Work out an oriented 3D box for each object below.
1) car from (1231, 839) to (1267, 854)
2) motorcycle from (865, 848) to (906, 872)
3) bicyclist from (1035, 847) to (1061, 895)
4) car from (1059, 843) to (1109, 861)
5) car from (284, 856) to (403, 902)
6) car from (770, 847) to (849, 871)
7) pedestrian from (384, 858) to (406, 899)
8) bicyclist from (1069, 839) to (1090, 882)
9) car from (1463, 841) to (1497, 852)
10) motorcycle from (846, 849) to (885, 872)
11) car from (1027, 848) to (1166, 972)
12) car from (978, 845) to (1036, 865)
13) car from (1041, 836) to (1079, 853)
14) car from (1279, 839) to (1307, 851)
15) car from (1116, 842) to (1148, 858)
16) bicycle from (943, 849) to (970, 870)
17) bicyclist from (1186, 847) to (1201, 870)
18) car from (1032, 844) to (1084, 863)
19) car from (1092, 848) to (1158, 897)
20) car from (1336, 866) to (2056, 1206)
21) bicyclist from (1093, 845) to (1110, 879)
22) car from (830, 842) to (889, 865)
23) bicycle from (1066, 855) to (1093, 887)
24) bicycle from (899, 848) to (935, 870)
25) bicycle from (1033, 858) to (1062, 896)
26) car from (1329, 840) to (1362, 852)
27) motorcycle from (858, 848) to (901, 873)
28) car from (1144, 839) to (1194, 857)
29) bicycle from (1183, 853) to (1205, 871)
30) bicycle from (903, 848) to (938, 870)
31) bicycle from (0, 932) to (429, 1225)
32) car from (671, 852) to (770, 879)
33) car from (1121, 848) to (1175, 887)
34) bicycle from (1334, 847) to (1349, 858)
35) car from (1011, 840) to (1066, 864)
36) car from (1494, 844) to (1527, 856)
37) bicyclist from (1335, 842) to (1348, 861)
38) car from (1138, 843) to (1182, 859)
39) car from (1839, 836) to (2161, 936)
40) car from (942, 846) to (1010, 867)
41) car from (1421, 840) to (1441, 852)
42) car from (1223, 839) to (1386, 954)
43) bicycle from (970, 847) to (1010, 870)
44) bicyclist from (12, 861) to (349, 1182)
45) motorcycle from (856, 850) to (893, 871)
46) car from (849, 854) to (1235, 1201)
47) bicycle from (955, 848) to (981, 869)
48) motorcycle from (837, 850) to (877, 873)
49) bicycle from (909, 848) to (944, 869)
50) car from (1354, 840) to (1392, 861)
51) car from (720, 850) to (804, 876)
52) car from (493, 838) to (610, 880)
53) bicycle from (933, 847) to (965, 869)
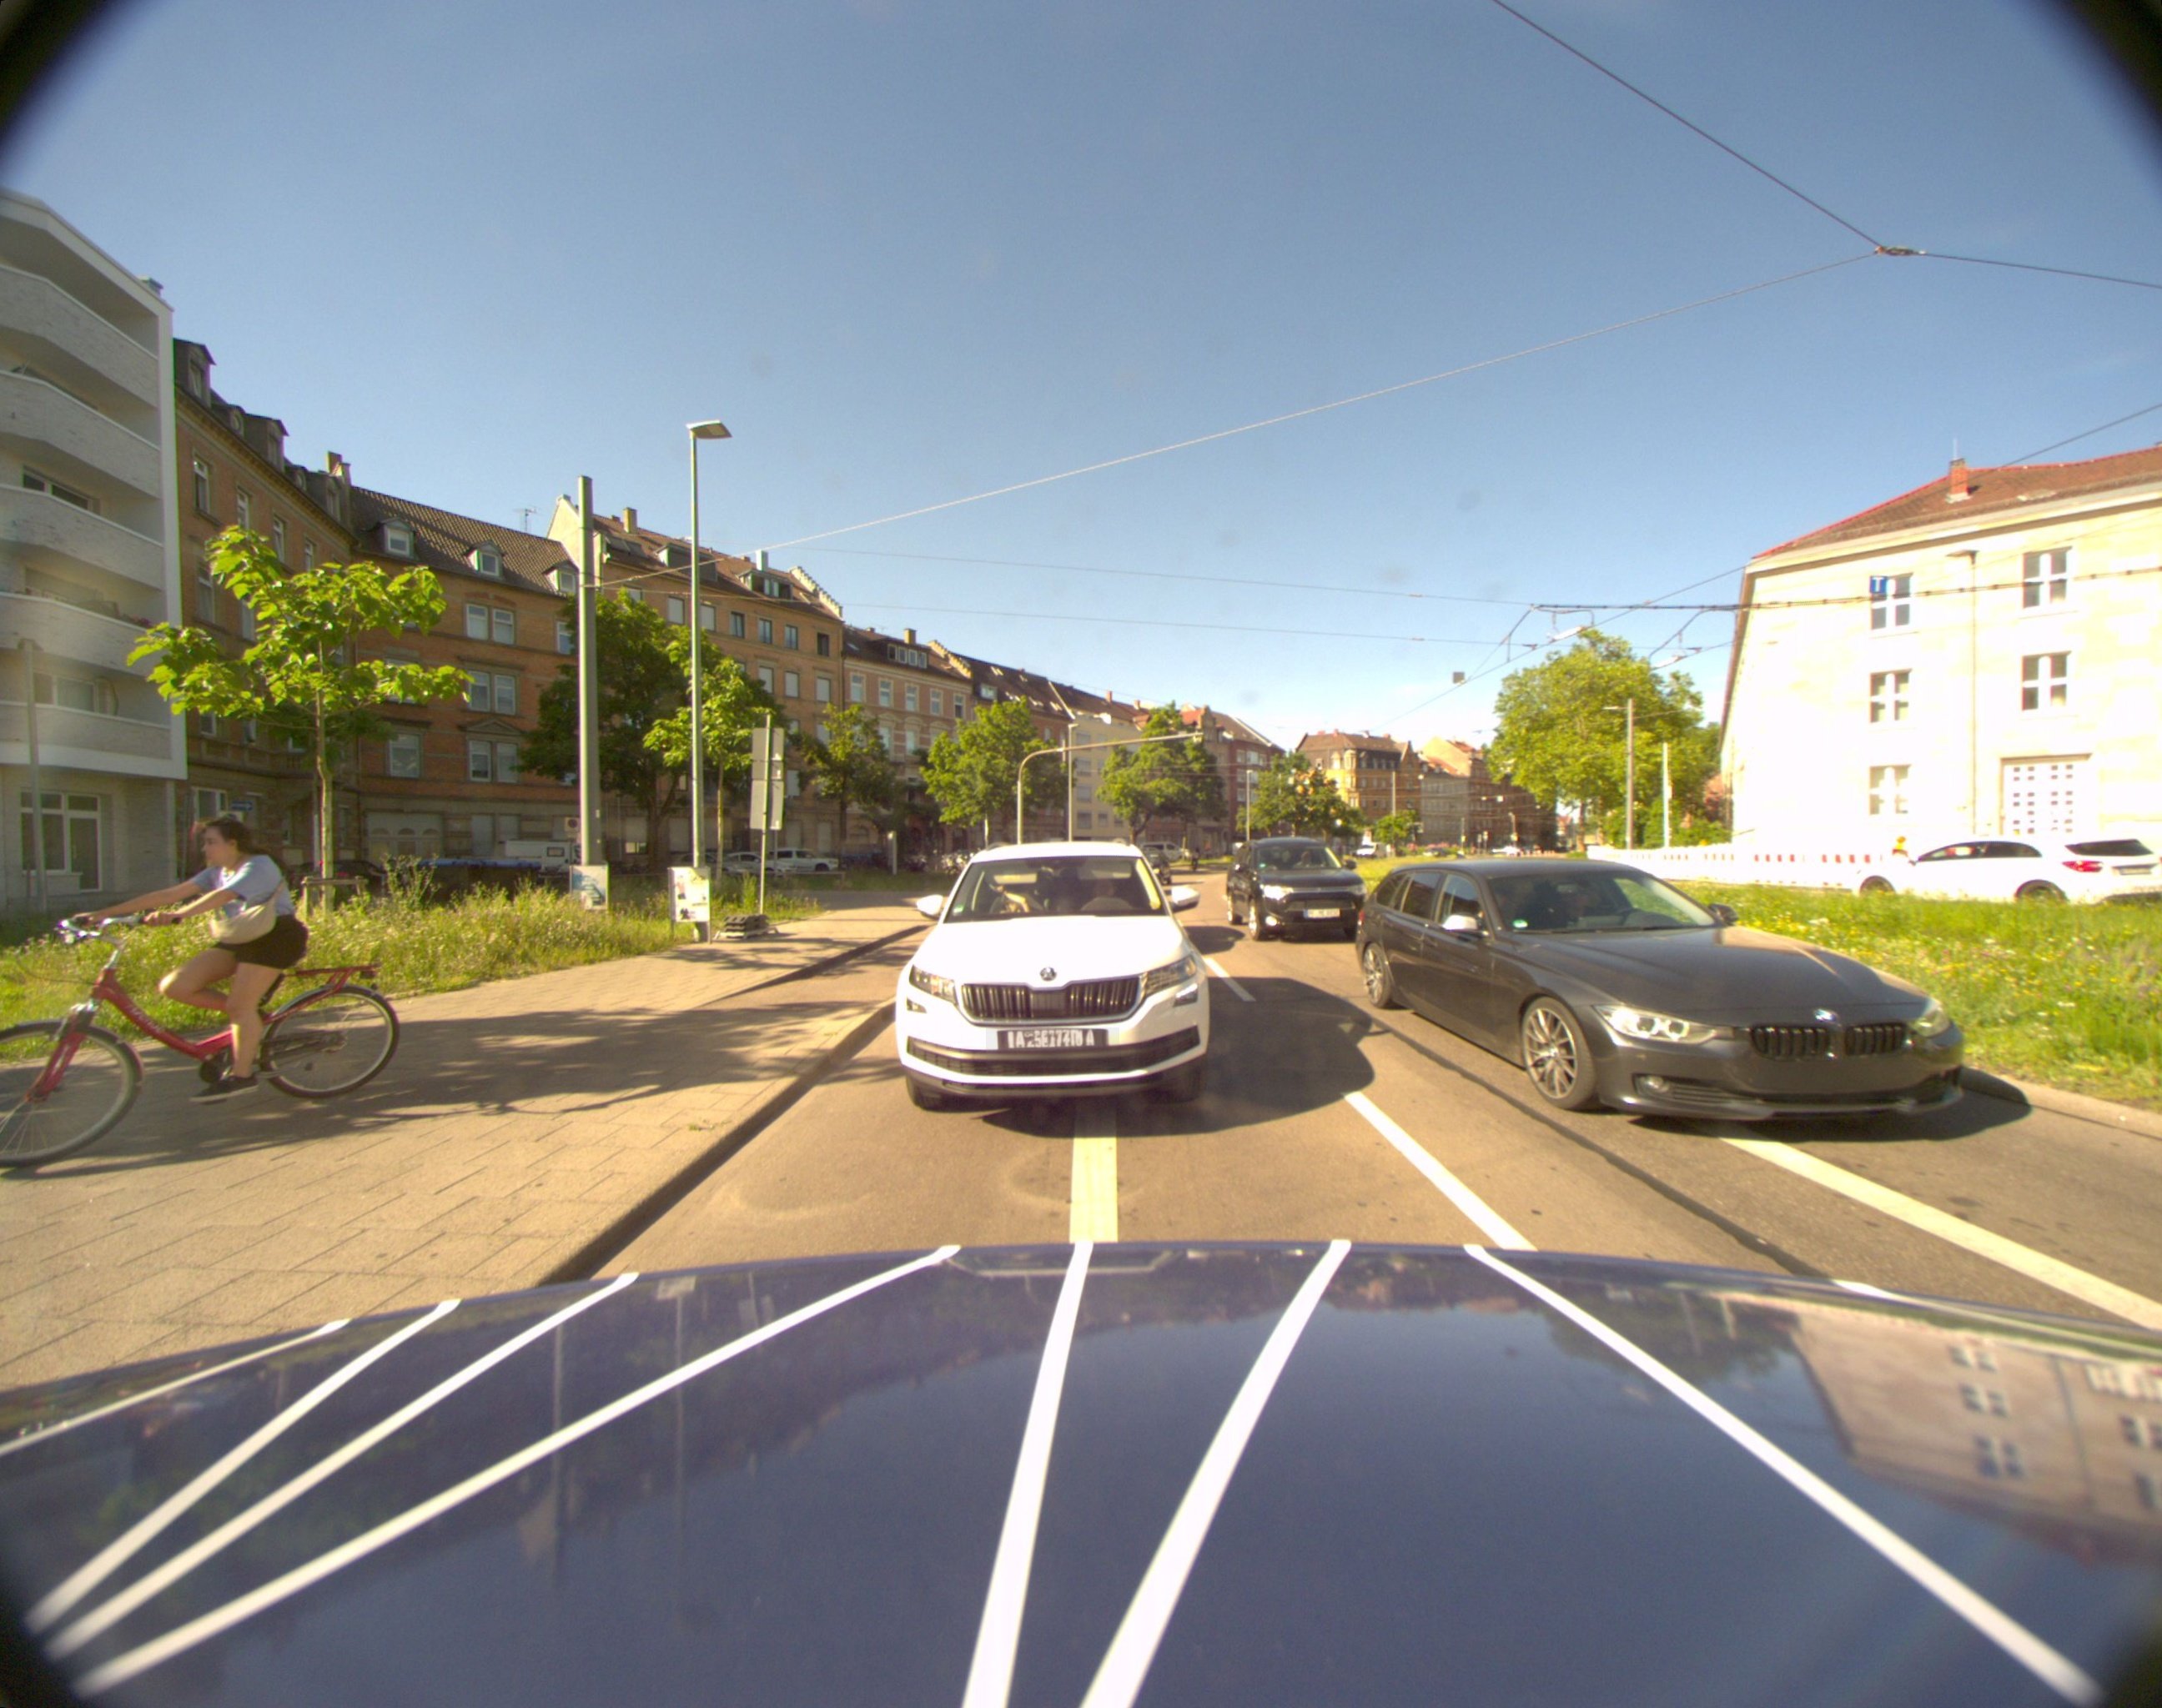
[{"bbox_3d":[18.694,-0.826,84.662,3.823,1.581,1.600,0,1,6],"label":"car"},{"bbox_3d":[-11.147,0.354,43.295,2.200,1.315,0.664,-2,1,18],"label":"motorcycle"},{"bbox_3d":[-1.195,0.596,27.730,0.715,1.715,1.095,1,1,10],"label":"bicyclist"},{"bbox_3d":[0.261,-0.164,61.167,3.823,1.398,1.600,0,1,6],"label":"car"},{"bbox_3d":[-26.166,0.827,27.149,1.835,1.419,4.378,-1,1,-27],"label":"car"},{"bbox_3d":[-14.679,0.253,41.196,3.700,1.244,1.540,0,1,2],"label":"car"},{"bbox_3d":[-25.094,0.895,27.797,0.509,1.448,0.481,-3,2,-38],"label":"pedestrian"},{"bbox_3d":[-0.065,0.276,33.815,0.809,1.855,0.750,-1,2,11],"label":"bicyclist"},{"bbox_3d":[57.506,-1.088,109.547,1.770,1.647,4.059,-1,1,-34],"label":"car"},{"bbox_3d":[-12.939,0.412,45.627,2.314,1.276,0.664,-2,1,24],"label":"motorcycle"},{"bbox_3d":[0.238,0.761,12.611,1.842,1.636,4.397,-2,0,1],"label":"car"},{"bbox_3d":[-5.226,0.083,53.967,3.822,1.398,1.683,0,1,9],"label":"car"},{"bbox_3d":[-1.939,-0.947,71.668,1.547,1.578,3.607,1,2,41],"label":"car"},{"bbox_3d":[36.359,-1.550,130.205,4.336,1.871,1.844,1,2,35],"label":"car"},{"bbox_3d":[5.469,-0.428,80.730,1.547,1.578,3.607,1,2,41],"label":"car"},{"bbox_3d":[-7.684,0.338,46.762,0.664,1.260,2.199,-3,1,-36],"label":"bicycle"},{"bbox_3d":[7.917,0.297,53.376,0.667,1.619,0.973,0,1,33],"label":"bicyclist"},{"bbox_3d":[-1.775,-0.058,58.715,3.823,1.398,1.600,0,1,6],"label":"car"},{"bbox_3d":[1.646,0.597,26.960,1.838,1.543,4.151,0,1,10],"label":"car"},{"bbox_3d":[3.481,0.849,5.597,1.741,1.359,4.426,-2,0,1],"label":"car"},{"bbox_3d":[0.993,0.397,37.086,0.630,1.619,0.972,-1,1,13],"label":"bicyclist"},{"bbox_3d":[-15.609,-0.060,53.673,1.547,1.578,3.709,1,2,41],"label":"car"},{"bbox_3d":[-0.047,0.741,33.881,0.757,1.293,2.156,-1,1,12],"label":"bicycle"},{"bbox_3d":[-9.741,0.303,45.072,2.198,1.260,0.664,-2,1,30],"label":"bicycle"},{"bbox_3d":[-1.211,0.800,27.629,0.715,1.319,1.750,1,0,9],"label":"bicycle"},{"bbox_3d":[42.736,-1.314,122.856,4.578,1.864,2.004,-2,1,33],"label":"car"},{"bbox_3d":[-11.177,0.372,42.209,2.200,1.322,0.663,-2,1,13],"label":"motorcycle"},{"bbox_3d":[8.198,-0.593,70.612,4.578,1.658,1.600,0,1,7],"label":"car"},{"bbox_3d":[7.963,0.538,53.467,0.667,1.190,2.158,0,1,33],"label":"bicycle"},{"bbox_3d":[-9.705,0.292,46.011,2.198,1.260,0.664,-2,1,32],"label":"bicycle"},{"bbox_3d":[-4.672,1.045,3.954,0.667,1.066,1.823,2,1,23],"label":"bicycle"},{"bbox_3d":[-17.498,0.531,36.908,4.156,1.244,1.683,0,1,13],"label":"car"},{"bbox_3d":[3.156,0.552,34.995,1.837,1.637,4.152,0,1,14],"label":"car"},{"bbox_3d":[27.568,-0.177,80.337,0.762,1.138,2.287,0,1,41],"label":"bicycle"},{"bbox_3d":[-3.106,-0.140,56.106,3.825,1.698,1.682,0,1,3],"label":"car"},{"bbox_3d":[62.603,-0.593,110.782,4.058,1.647,1.770,1,2,34],"label":"car"},{"bbox_3d":[27.547,-0.248,80.327,0.847,2.002,1.199,0,1,42],"label":"bicyclist"},{"bbox_3d":[7.127,-0.253,68.182,3.823,1.372,1.600,0,1,9],"label":"car"},{"bbox_3d":[17.516,0.519,14.581,1.824,1.636,4.182,-1,0,1],"label":"car"},{"bbox_3d":[-7.042,0.172,51.297,4.322,1.398,1.682,0,1,3],"label":"car"},{"bbox_3d":[45.428,-1.063,98.463,1.836,1.464,4.722,1,1,31],"label":"car"},{"bbox_3d":[3.700,0.625,13.401,1.841,1.636,4.399,-2,0,5],"label":"car"},{"bbox_3d":[-5.474,0.264,45.741,2.207,1.260,0.662,-3,1,-25],"label":"bicycle"},{"bbox_3d":[-4.648,0.765,3.982,0.667,1.428,0.941,0,1,22],"label":"bicyclist"},{"bbox_3d":[-12.601,0.398,46.406,2.199,1.260,0.664,-2,1,24],"label":"motorcycle"},{"bbox_3d":[-0.225,0.854,5.952,1.842,1.636,4.397,-2,0,-1],"label":"car"},{"bbox_3d":[-7.121,0.305,47.756,0.664,1.260,2.199,-3,1,-36],"label":"bicycle"},{"bbox_3d":[-13.288,0.435,45.021,2.314,1.270,0.664,-2,1,24],"label":"motorcycle"},{"bbox_3d":[-9.508,0.276,46.714,2.198,1.260,0.664,-2,1,32],"label":"bicycle"},{"bbox_3d":[30.383,-0.420,79.027,1.977,2.074,4.723,1,2,44],"label":"car"},{"bbox_3d":[-16.405,0.437,39.107,3.696,1.244,1.683,0,1,13],"label":"car"},{"bbox_3d":[-27.116,0.214,39.011,2.047,2.026,4.510,1,2,41],"label":"car"},{"bbox_3d":[-7.727,0.237,44.520,0.664,1.260,2.198,-3,1,-45],"label":"bicycle"}]
